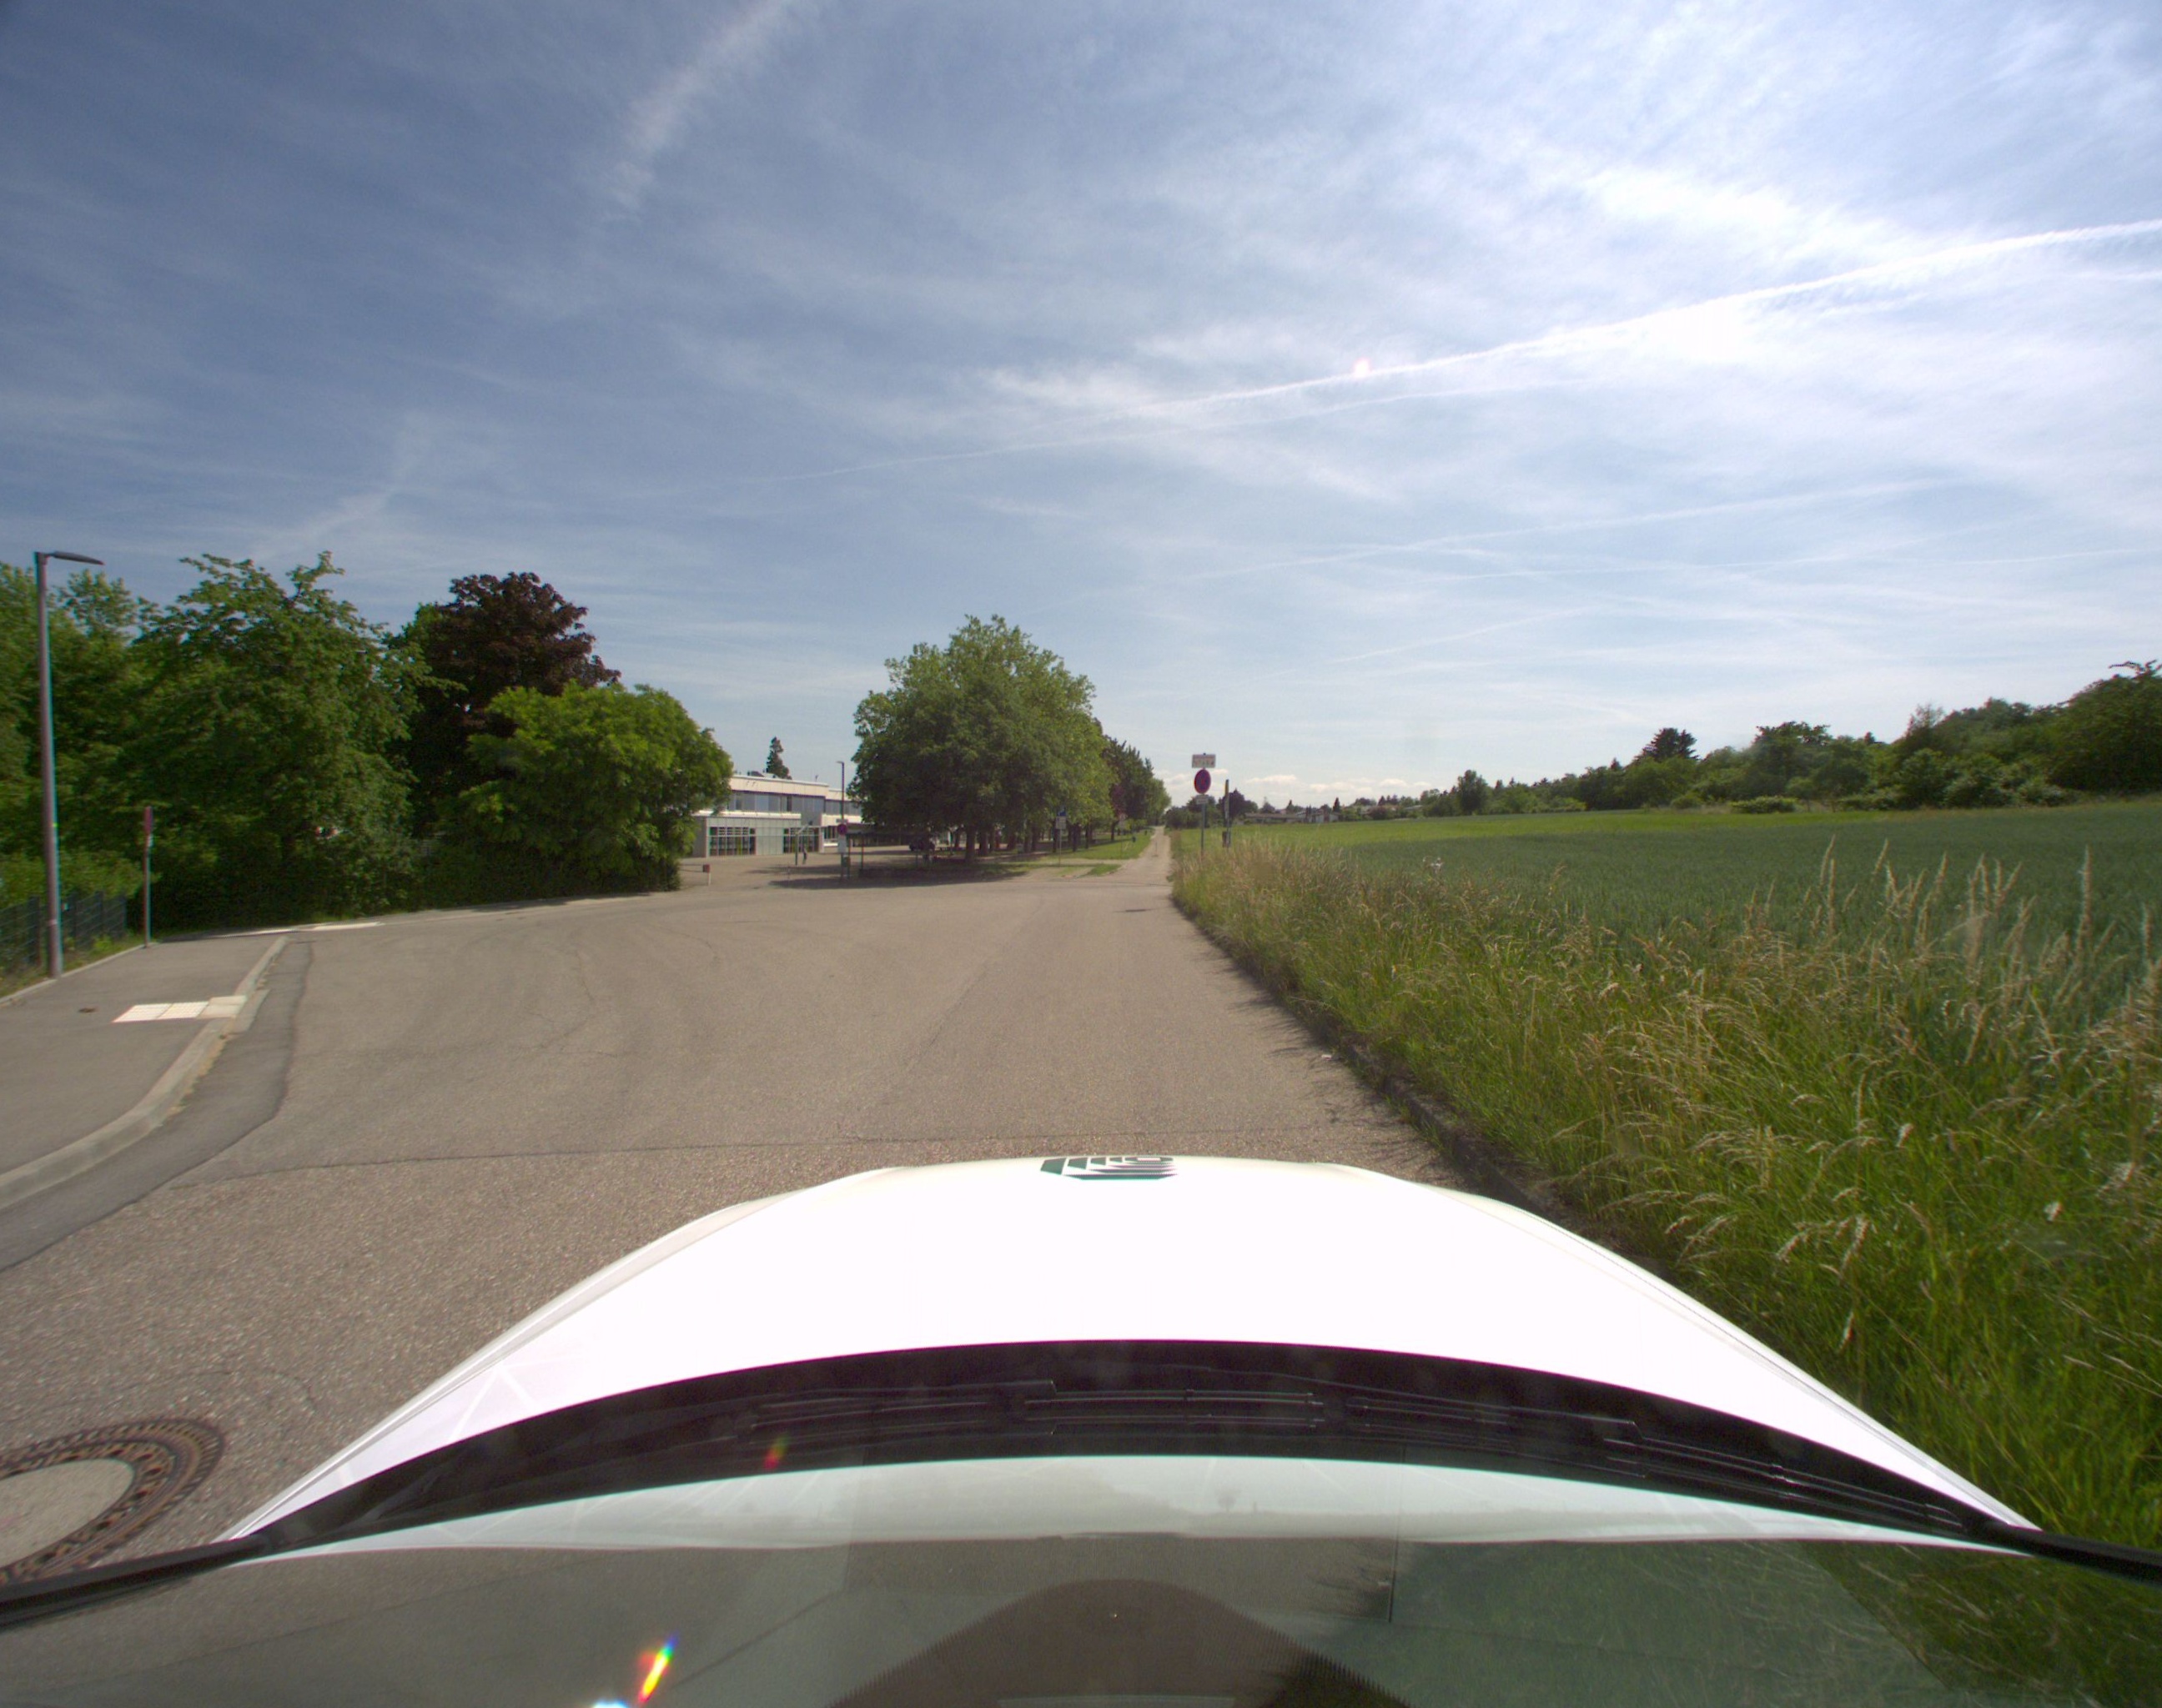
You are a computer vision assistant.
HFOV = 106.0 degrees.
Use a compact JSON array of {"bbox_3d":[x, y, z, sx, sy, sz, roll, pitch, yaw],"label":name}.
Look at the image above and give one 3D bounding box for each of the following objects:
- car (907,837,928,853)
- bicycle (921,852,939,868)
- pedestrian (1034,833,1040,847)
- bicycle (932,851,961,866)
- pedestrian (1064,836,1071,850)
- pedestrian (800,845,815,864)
[{"bbox_3d":[-19.575,-1.093,97.805,1.684,1.834,3.414,0,1,3],"label":"car"},{"bbox_3d":[-10.827,0.437,58.416,0.590,1.039,1.899,-1,1,12],"label":"bicycle"},{"bbox_3d":[-6.750,-2.162,125.594,0.833,2.013,0.689,0,1,-11],"label":"pedestrian"},{"bbox_3d":[-9.967,0.345,60.390,2.057,1.039,0.571,-1,1,-3],"label":"bicycle"},{"bbox_3d":[-1.989,-1.646,117.820,0.686,2.013,0.796,0,1,-28],"label":"pedestrian"},{"bbox_3d":[-20.592,0.062,61.316,1.070,1.423,0.913,0,1,-23],"label":"pedestrian"}]
